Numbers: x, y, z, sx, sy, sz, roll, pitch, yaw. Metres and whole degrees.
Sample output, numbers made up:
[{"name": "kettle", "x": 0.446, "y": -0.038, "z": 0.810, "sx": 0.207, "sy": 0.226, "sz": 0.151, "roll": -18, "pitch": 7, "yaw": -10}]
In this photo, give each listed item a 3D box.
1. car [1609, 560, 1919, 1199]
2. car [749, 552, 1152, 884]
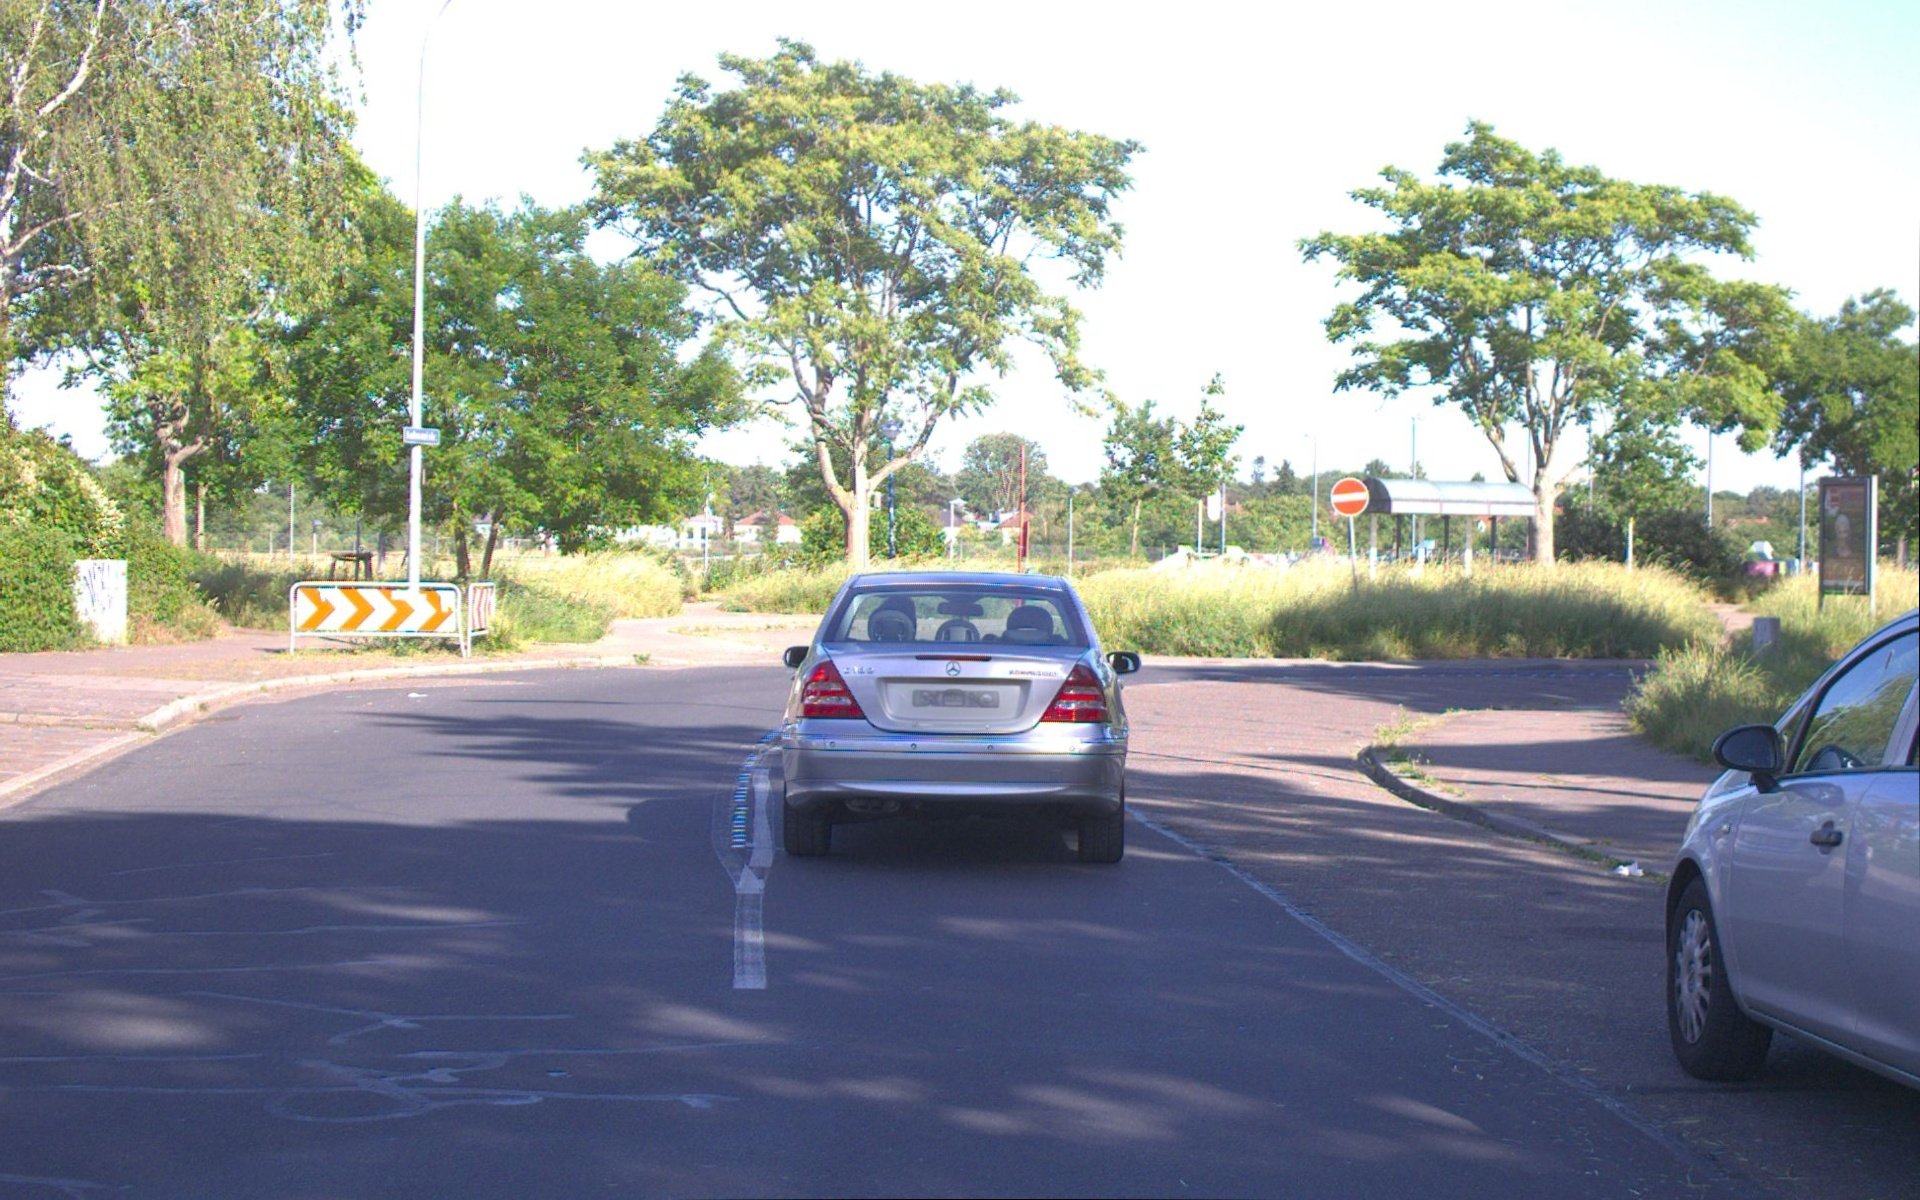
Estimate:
[{"name": "car", "x": 2.995, "y": 0.703, "z": 8.803, "sx": 1.731, "sy": 1.538, "sz": 3.789, "roll": 2, "pitch": 0, "yaw": -3}, {"name": "car", "x": 0.035, "y": 0.516, "z": 18.117, "sx": 1.816, "sy": 1.458, "sz": 4.361, "roll": 2, "pitch": 1, "yaw": 2}]
